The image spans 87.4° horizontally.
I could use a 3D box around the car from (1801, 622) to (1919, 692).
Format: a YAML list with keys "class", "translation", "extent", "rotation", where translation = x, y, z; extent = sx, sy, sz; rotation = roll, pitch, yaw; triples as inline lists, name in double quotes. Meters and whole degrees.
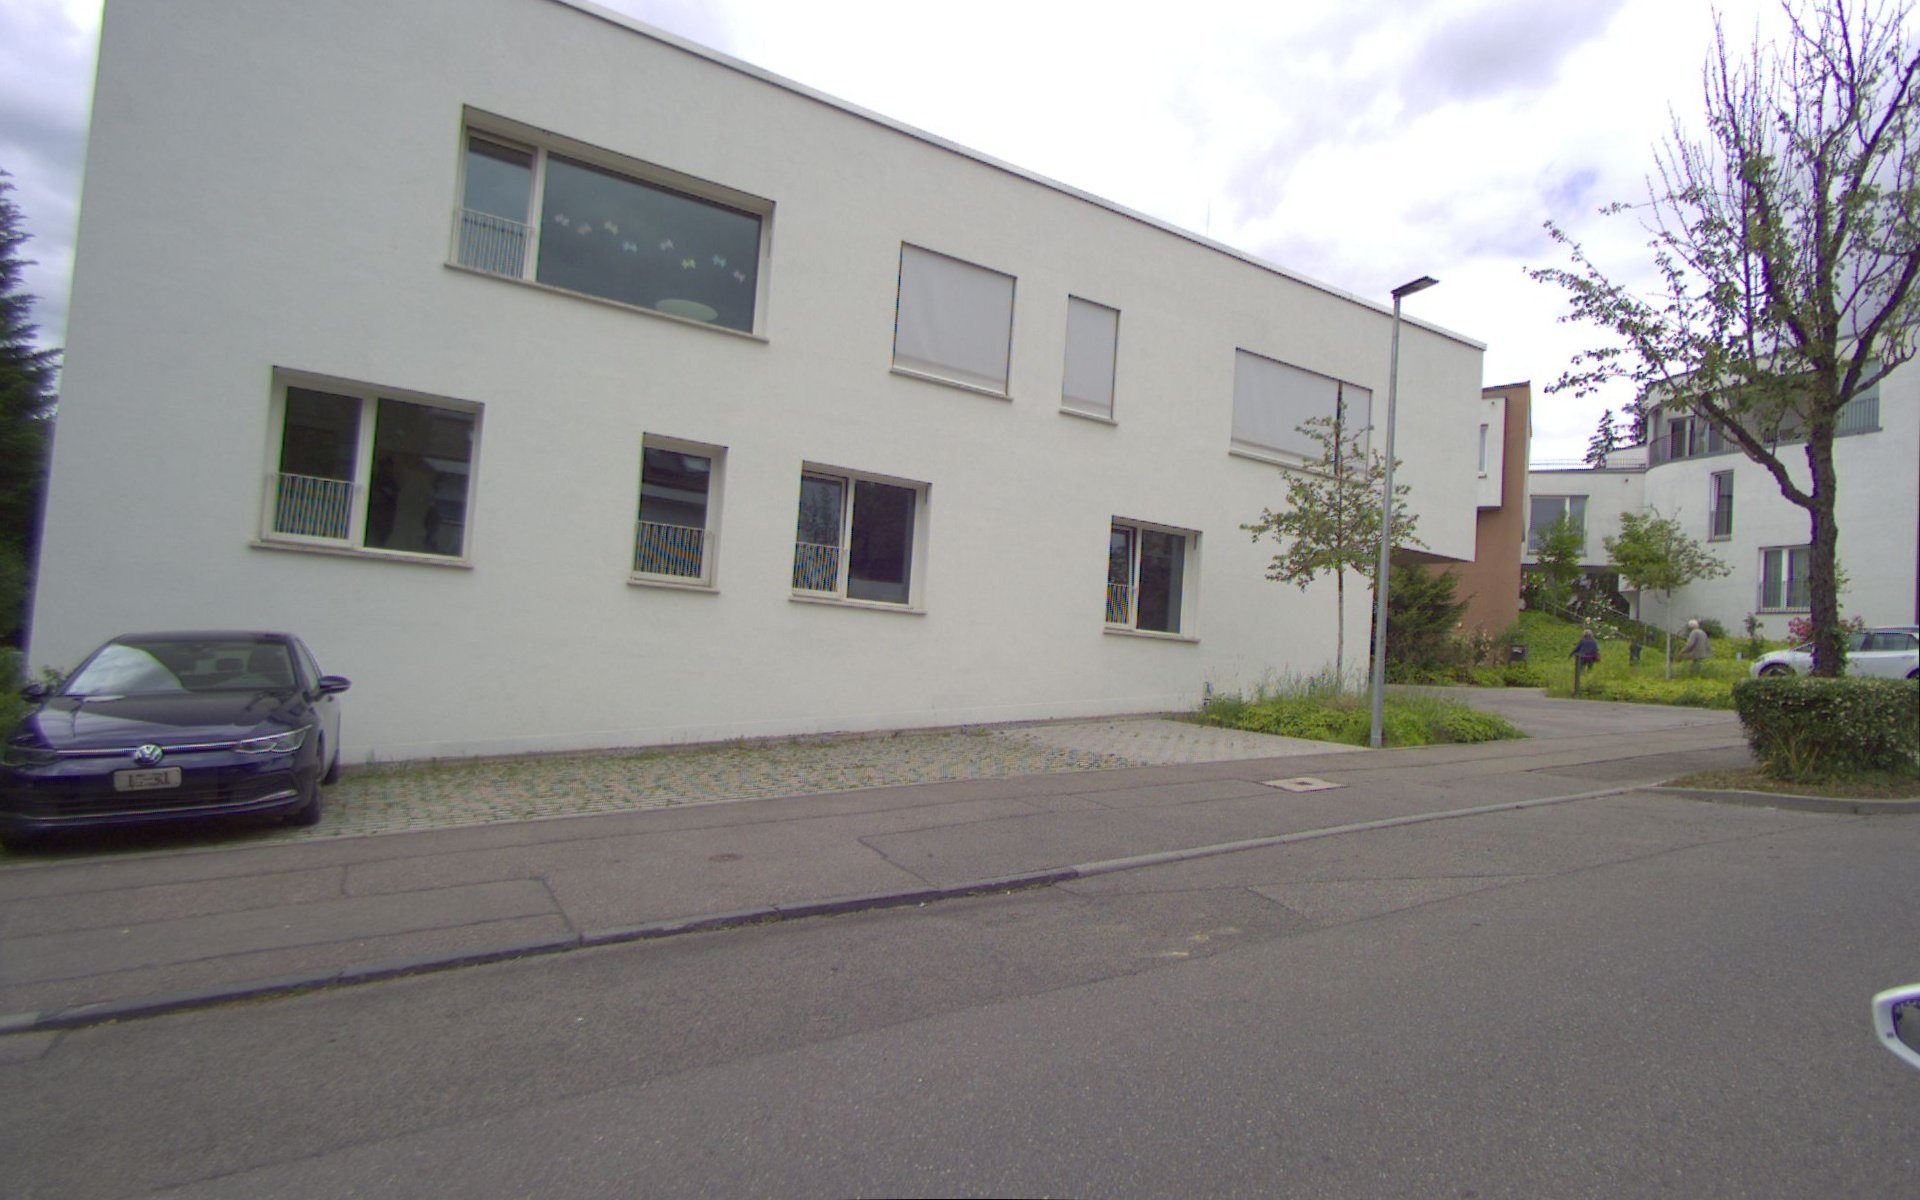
- class: "car"
  translation: [23.829, 1.411, 25.057]
  extent: [1.984, 1.675, 3.970]
  rotation: [1, -1, -29]

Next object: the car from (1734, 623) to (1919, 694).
- class: "car"
  translation: [21.470, 1.356, 23.926]
  extent: [2.043, 1.587, 4.365]
  rotation: [1, -2, -31]

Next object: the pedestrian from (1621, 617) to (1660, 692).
- class: "pedestrian"
  translation: [15.740, 1.248, 23.232]
  extent: [0.513, 1.704, 0.586]
  rotation: [1, -2, -29]

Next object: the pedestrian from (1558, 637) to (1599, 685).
- class: "pedestrian"
  translation: [17.113, 1.677, 27.790]
  extent: [0.889, 1.300, 0.604]
  rotation: [1, 0, -31]

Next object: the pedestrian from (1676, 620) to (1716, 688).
- class: "pedestrian"
  translation: [18.213, 1.323, 24.850]
  extent: [0.558, 1.662, 0.591]
  rotation: [1, -2, -29]

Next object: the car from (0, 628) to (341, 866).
- class: "car"
  translation: [-6.005, 0.918, 7.882]
  extent: [1.724, 1.372, 3.769]
  rotation: [2, -2, -35]
